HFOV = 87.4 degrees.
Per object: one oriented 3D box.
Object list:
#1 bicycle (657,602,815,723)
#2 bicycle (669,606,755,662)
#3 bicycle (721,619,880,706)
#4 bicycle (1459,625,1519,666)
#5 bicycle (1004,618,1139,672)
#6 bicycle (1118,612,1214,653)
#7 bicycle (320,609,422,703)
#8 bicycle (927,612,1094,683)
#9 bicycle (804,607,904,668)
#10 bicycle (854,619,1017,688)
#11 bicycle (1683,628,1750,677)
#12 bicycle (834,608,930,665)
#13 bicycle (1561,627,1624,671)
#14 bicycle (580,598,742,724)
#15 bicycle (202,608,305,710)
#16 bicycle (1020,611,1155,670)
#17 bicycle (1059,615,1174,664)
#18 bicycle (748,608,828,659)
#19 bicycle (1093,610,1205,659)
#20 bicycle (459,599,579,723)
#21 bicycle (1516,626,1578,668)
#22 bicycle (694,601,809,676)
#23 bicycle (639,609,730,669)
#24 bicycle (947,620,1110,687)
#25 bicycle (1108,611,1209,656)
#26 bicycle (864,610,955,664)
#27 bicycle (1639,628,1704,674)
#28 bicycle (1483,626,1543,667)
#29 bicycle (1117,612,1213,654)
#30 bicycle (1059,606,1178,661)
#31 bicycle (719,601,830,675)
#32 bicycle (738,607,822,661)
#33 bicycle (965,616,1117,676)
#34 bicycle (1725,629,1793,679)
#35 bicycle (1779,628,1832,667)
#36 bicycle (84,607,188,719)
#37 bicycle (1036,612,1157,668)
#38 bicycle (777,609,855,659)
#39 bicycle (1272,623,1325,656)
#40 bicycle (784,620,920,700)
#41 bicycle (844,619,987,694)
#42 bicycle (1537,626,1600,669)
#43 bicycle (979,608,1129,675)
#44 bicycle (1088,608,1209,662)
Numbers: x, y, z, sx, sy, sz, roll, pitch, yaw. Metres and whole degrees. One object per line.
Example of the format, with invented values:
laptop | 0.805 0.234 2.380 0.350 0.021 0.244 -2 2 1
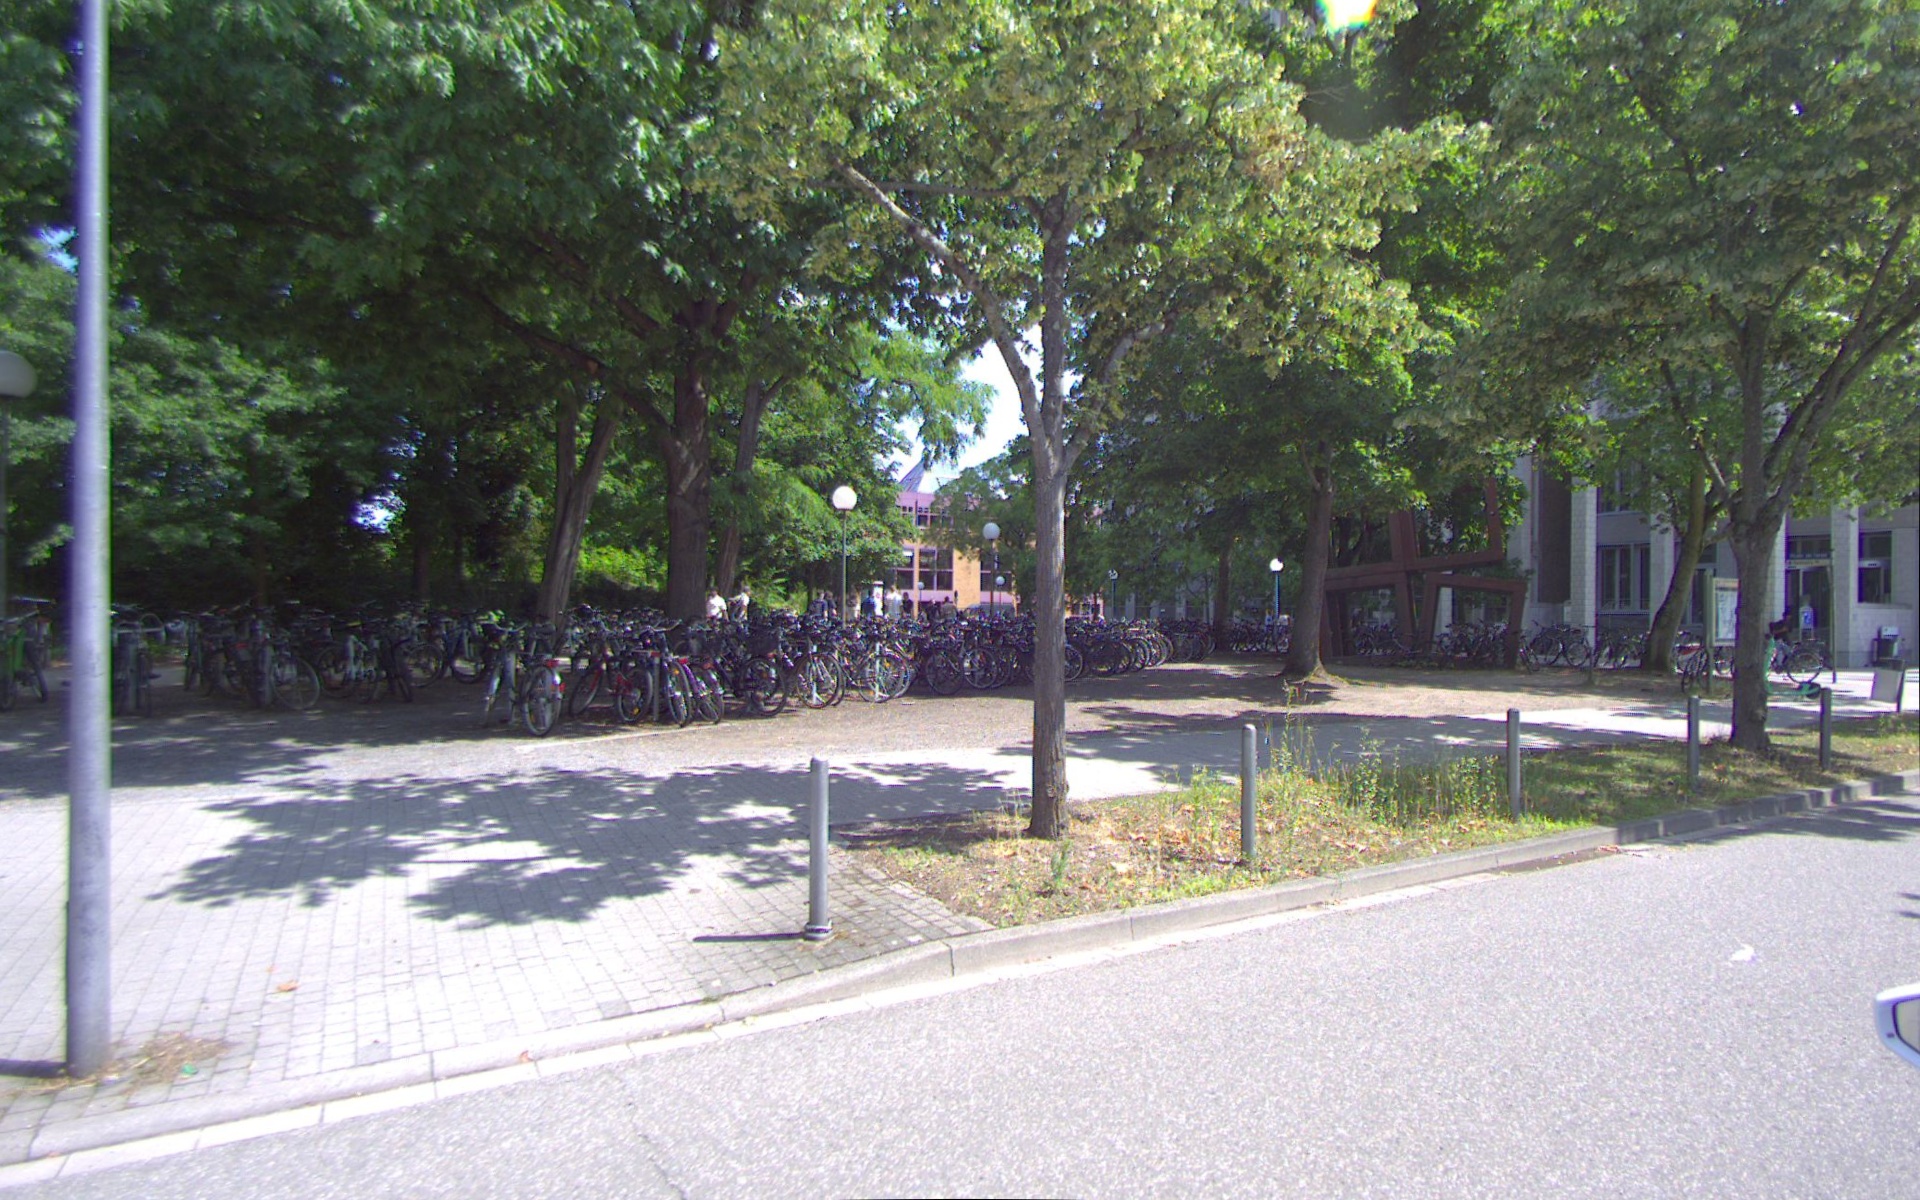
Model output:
bicycle | -2.692 0.688 11.930 2.031 1.251 0.804 3 2 43
bicycle | -5.222 0.694 21.097 1.933 1.104 0.546 1 1 32
bicycle | -2.124 0.784 13.236 2.116 1.022 0.676 1 0 31
bicycle | 15.242 1.296 28.921 1.950 1.101 0.549 1 1 -30
bicycle | 2.341 0.927 21.046 2.679 1.016 0.883 1 0 18
bicycle | 6.423 0.995 31.308 2.853 1.171 0.743 1 1 18
bicycle | -7.640 0.684 12.989 1.833 1.104 0.544 1 1 40
bicycle | 0.854 0.781 17.081 2.696 1.101 0.883 1 0 18
bicycle | -2.189 0.756 20.681 2.022 1.173 0.639 1 1 25
bicycle | -0.409 0.858 16.546 2.598 1.022 0.678 1 0 18
bicycle | 18.183 1.248 24.145 1.950 1.101 0.549 1 1 -30
bicycle | -1.706 0.772 21.800 2.022 1.148 0.639 1 1 25
bicycle | 16.719 1.273 26.549 1.950 1.101 0.549 1 1 -30
bicycle | -3.363 0.620 11.189 2.031 1.251 0.804 2 1 43
bicycle | -8.515 0.668 12.083 1.833 1.104 0.544 1 1 40
bicycle | 2.797 0.859 22.049 2.826 1.193 0.883 1 0 18
bicycle | 3.797 0.930 24.366 2.630 1.091 0.883 1 0 18
bicycle | -3.965 0.744 23.093 1.933 1.104 0.546 1 1 32
bicycle | 5.189 0.929 27.590 2.902 1.141 0.743 3 1 18
bicycle | -4.502 0.572 10.199 1.754 1.147 0.456 1 0 43
bicycle | 16.192 1.291 27.696 1.950 1.101 0.549 1 1 -30
bicycle | -3.731 0.654 17.934 2.022 1.251 0.639 1 1 25
bicycle | -5.418 0.743 19.689 1.933 1.104 0.546 1 1 32
bicycle | 1.233 0.927 18.002 2.777 1.064 0.883 1 0 18
bicycle | 5.748 0.942 29.106 2.781 1.249 0.743 0 0 18
bicycle | -1.156 0.827 22.907 2.022 1.147 0.639 0 1 25
bicycle | 17.895 1.274 25.262 1.950 1.101 0.549 1 1 -30
bicycle | 15.593 1.289 28.317 1.950 1.101 0.549 1 1 -30
bicycle | 6.162 0.985 30.179 2.708 1.083 0.743 3 1 18
bicycle | 4.032 0.843 25.609 2.875 1.304 0.883 1 0 18
bicycle | -3.433 0.671 18.542 2.021 1.251 0.639 2 1 25
bicycle | -3.965 0.727 22.055 1.933 1.104 0.546 1 1 32
bicycle | 1.525 0.844 18.984 2.728 1.028 0.883 1 0 18
bicycle | 18.480 1.229 23.220 1.950 1.101 0.549 1 1 -30
bicycle | 24.359 1.365 28.931 1.840 1.028 0.463 -1 2 -27
bicycle | -9.046 0.644 11.005 1.833 1.104 0.544 1 1 40
bicycle | 3.150 0.896 23.174 2.655 1.195 0.883 1 0 18
bicycle | -3.461 0.795 24.036 1.933 1.104 0.546 1 1 32
bicycle | 11.757 1.362 34.867 1.950 1.101 0.549 1 1 -30
bicycle | -1.530 0.811 14.114 1.858 1.022 0.676 1 0 31
bicycle | -0.686 0.818 15.157 2.115 1.022 0.676 1 0 30
bicycle | 16.401 1.278 27.064 1.950 1.101 0.549 1 1 -30
bicycle | 1.871 0.797 20.037 2.850 1.237 0.883 1 0 18
bicycle | 4.950 0.887 26.365 3.022 1.314 0.883 1 0 18
